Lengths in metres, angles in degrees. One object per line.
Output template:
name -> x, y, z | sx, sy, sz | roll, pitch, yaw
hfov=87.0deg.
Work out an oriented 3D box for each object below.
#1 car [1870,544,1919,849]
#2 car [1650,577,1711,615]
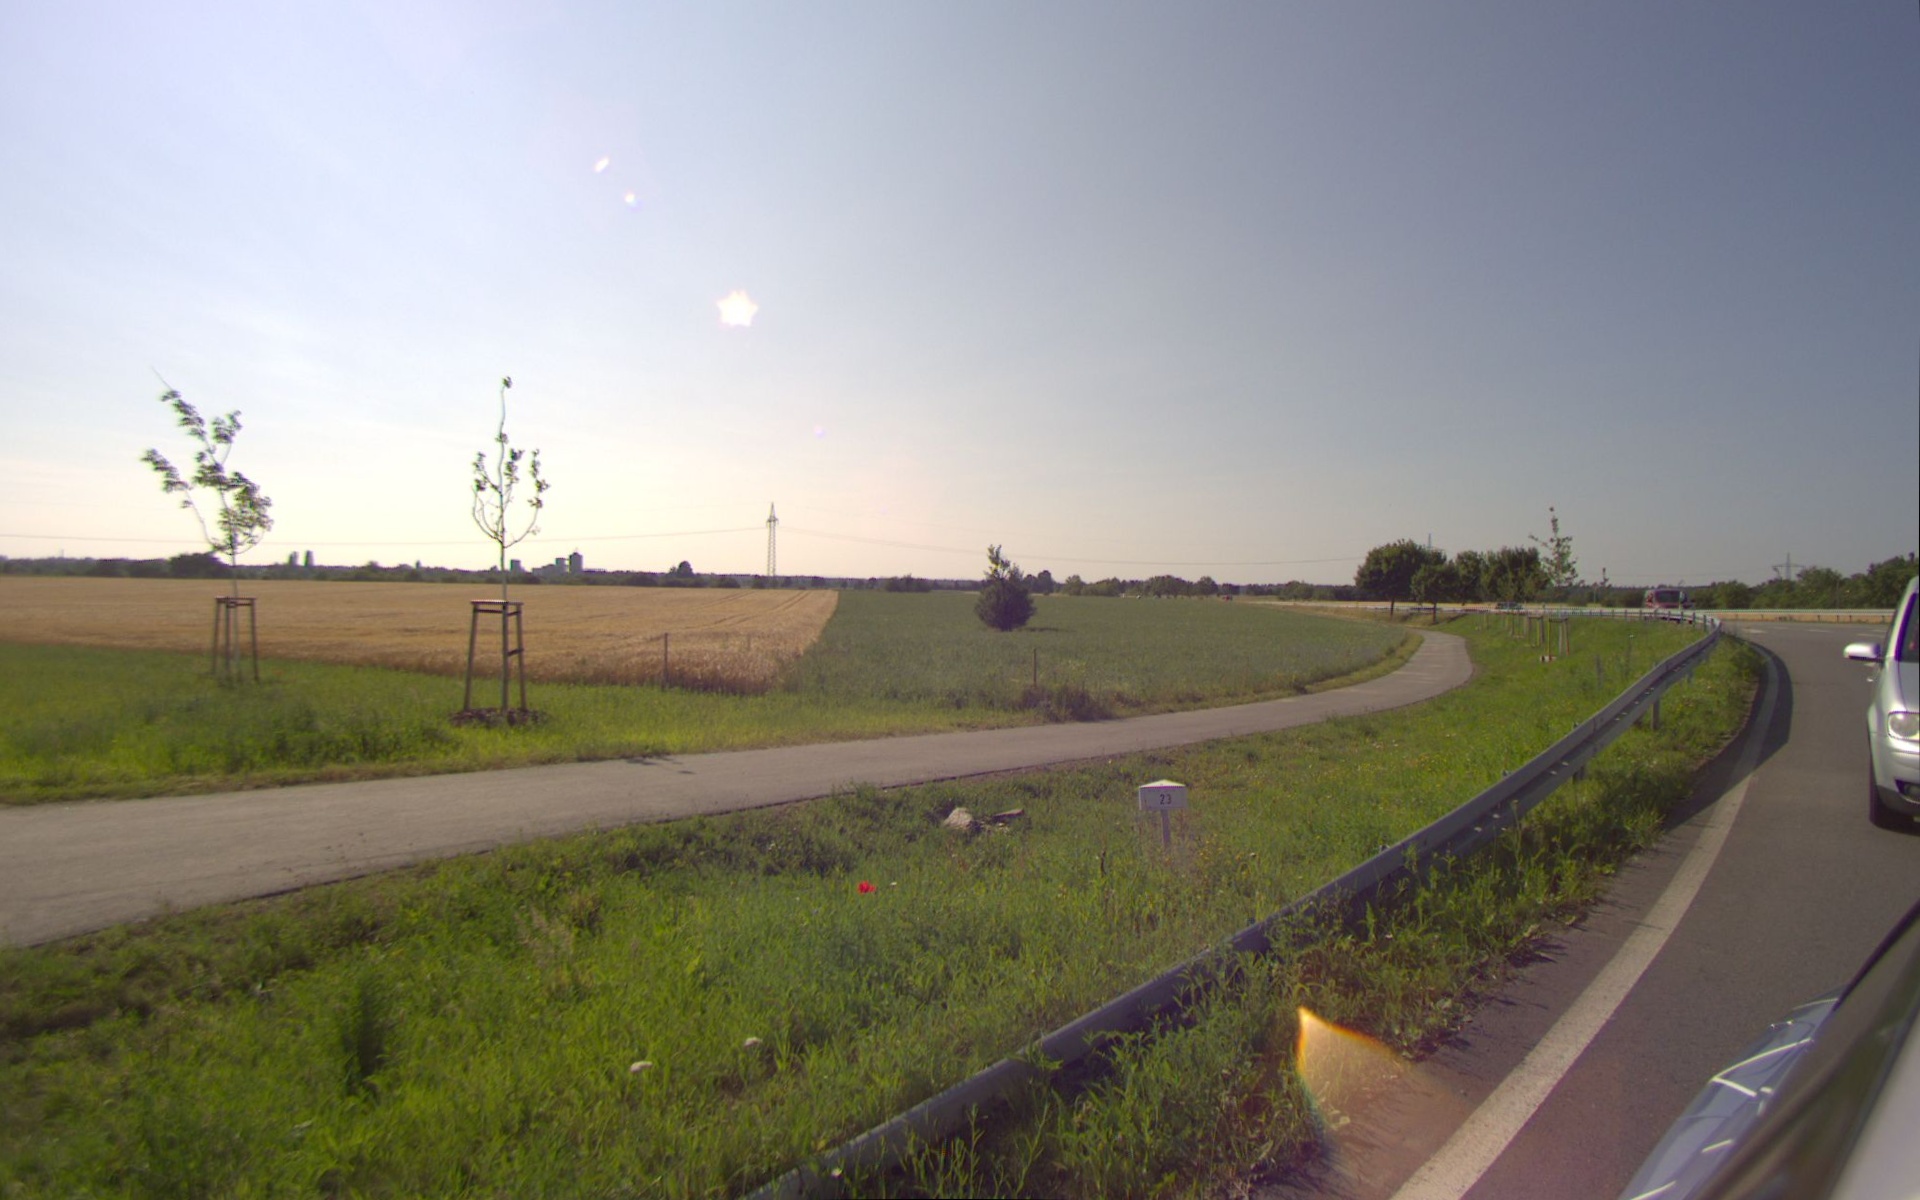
car -> 7.339, 0.504, 6.691 | 1.751, 1.716, 4.147 | -1, 0, 45
car -> 37.059, -0.224, 52.184 | 1.676, 1.860, 4.659 | 0, 0, 24
